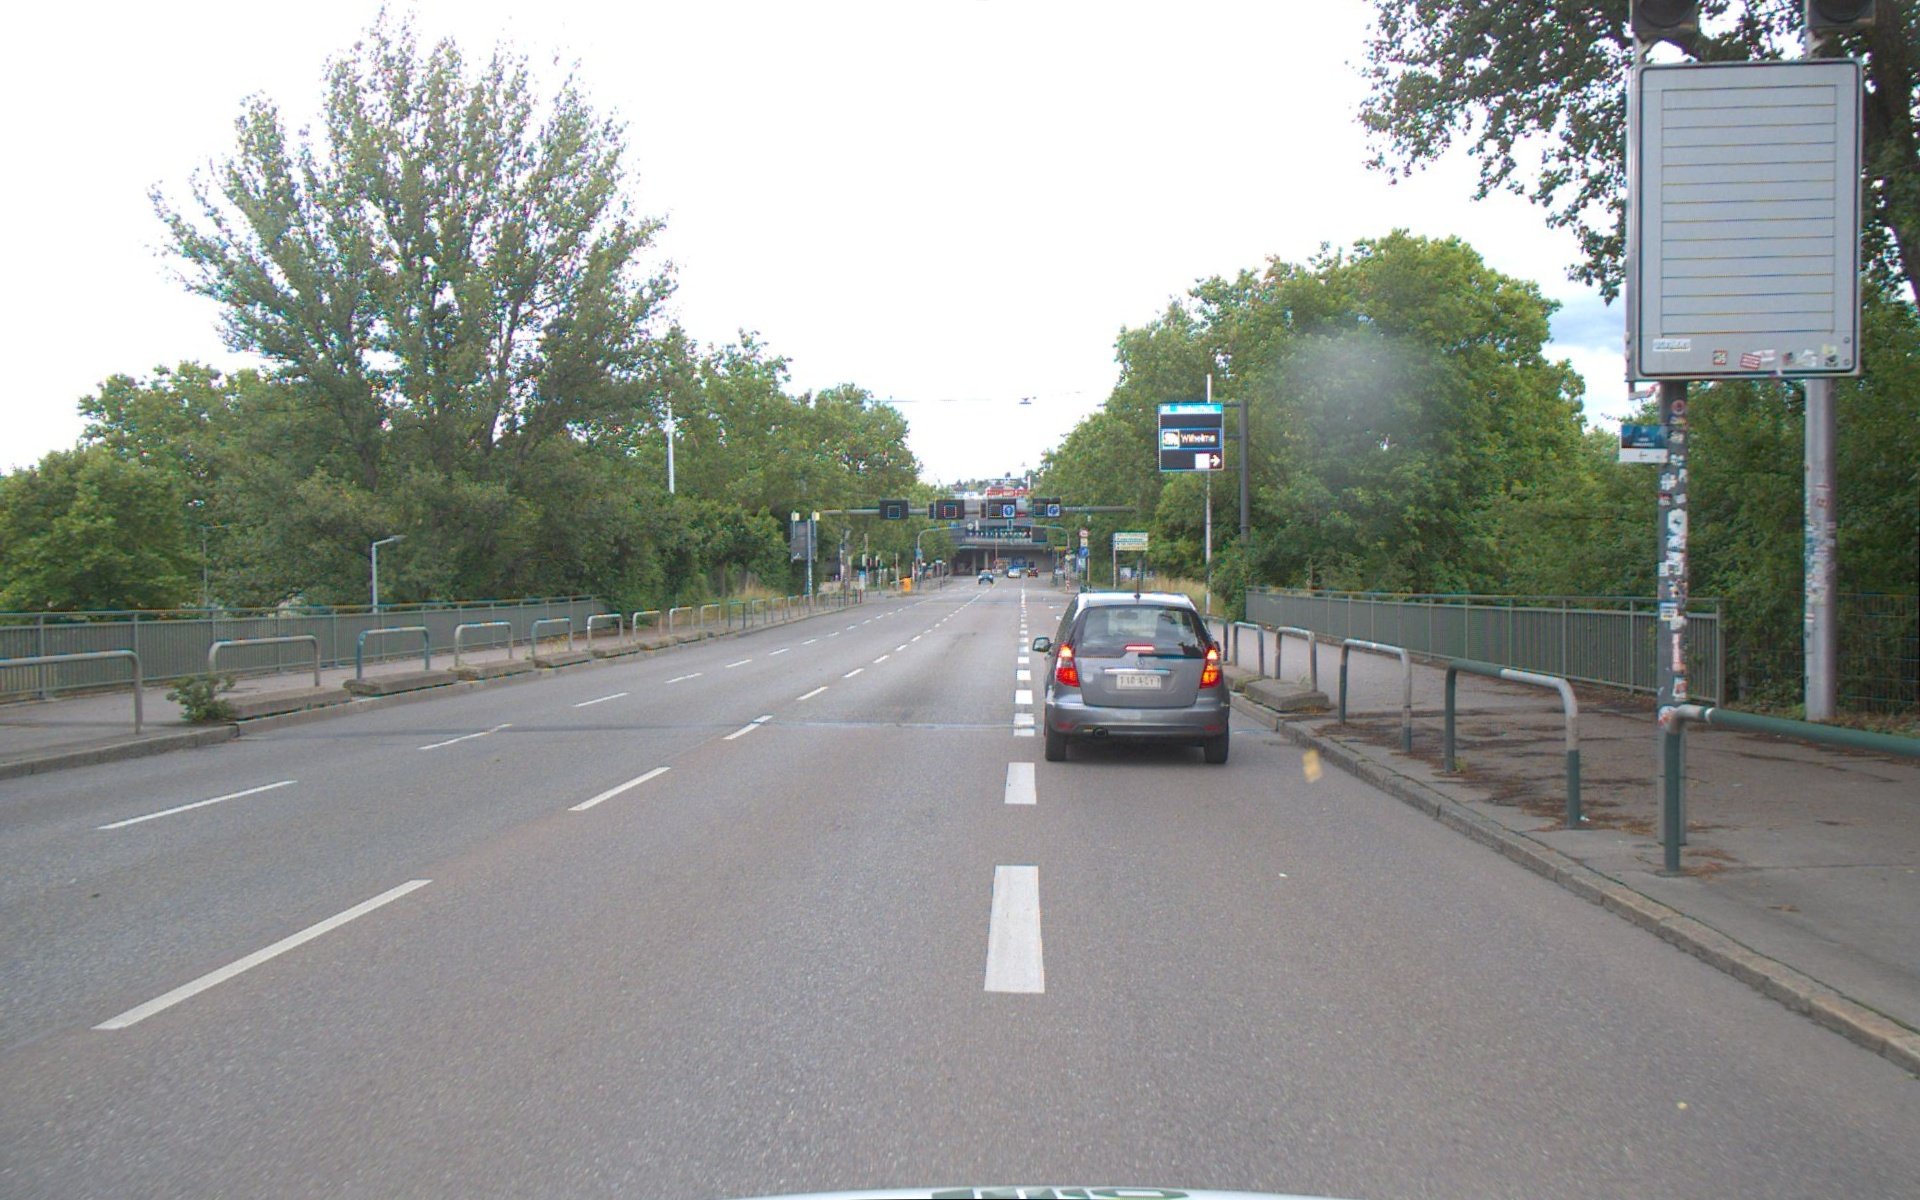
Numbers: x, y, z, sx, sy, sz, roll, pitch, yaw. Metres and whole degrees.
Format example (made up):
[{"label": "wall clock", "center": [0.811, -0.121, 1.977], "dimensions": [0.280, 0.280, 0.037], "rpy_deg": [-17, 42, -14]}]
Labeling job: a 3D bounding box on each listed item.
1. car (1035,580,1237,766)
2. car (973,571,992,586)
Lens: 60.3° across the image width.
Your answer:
[{"label": "car", "center": [1.737, 0.644, 16.804], "dimensions": [1.788, 1.644, 4.036], "rpy_deg": [0, 0, 5]}, {"label": "car", "center": [2.819, -2.660, 204.599], "dimensions": [1.951, 1.689, 4.520], "rpy_deg": [-2, 1, 5]}]
